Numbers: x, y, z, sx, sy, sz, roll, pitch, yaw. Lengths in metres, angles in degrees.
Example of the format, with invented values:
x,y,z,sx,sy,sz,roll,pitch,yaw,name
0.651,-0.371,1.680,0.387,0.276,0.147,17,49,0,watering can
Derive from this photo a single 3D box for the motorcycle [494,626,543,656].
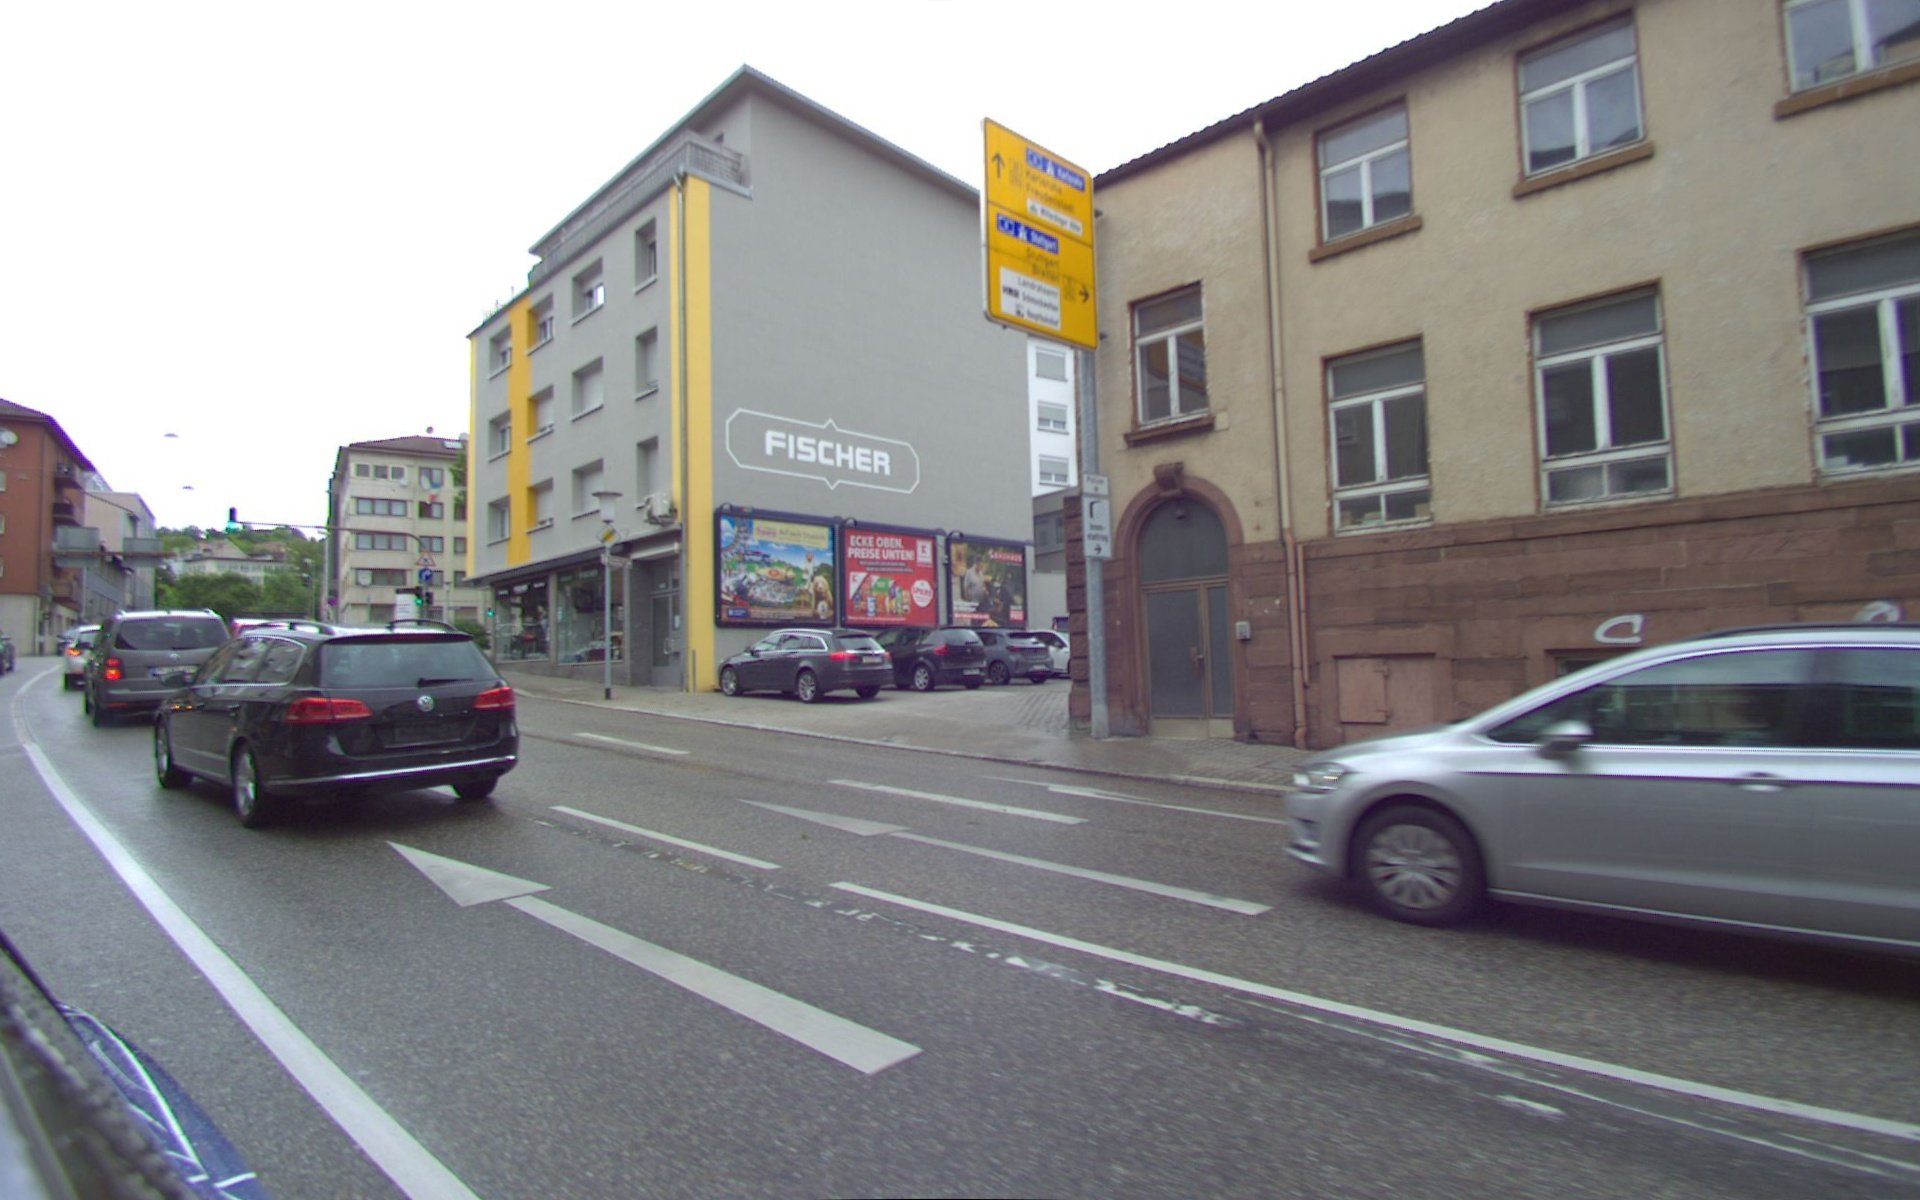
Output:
x,y,z,sx,sy,sz,roll,pitch,yaw,name
-20.103,1.868,46.082,1.962,1.339,0.540,1,-3,-43,motorcycle

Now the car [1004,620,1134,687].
x,y,z,sx,sy,sz,roll,pitch,yaw,name
3.107,1.575,29.350,1.653,1.684,3.553,0,-6,-38,car

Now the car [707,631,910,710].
x,y,z,sx,sy,sz,roll,pitch,yaw,name
-3.332,1.425,21.619,4.662,1.466,1.673,-2,-1,41,car

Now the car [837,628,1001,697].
x,y,z,sx,sy,sz,roll,pitch,yaw,name
-1.031,1.408,23.828,3.856,1.475,1.672,-2,-2,45,car

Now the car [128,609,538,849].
x,y,z,sx,sy,sz,roll,pitch,yaw,name
-5.453,0.851,8.555,4.367,1.527,1.705,-1,-1,41,car

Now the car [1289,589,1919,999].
x,y,z,sx,sy,sz,roll,pitch,yaw,name
3.941,0.812,4.910,4.137,1.598,1.698,0,-4,37,car

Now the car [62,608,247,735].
x,y,z,sx,sy,sz,roll,pitch,yaw,name
-12.812,1.001,15.978,1.786,1.718,4.564,1,-1,-45,car

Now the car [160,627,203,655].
x,y,z,sx,sy,sz,roll,pitch,yaw,name
-42.673,2.205,55.438,1.783,1.425,4.387,2,-2,-38,car

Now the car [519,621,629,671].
x,y,z,sx,sy,sz,roll,pitch,yaw,name
-16.486,1.932,43.378,1.859,1.807,3.948,-3,0,39,car

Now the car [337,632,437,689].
x,y,z,sx,sy,sz,roll,pitch,yaw,name
-16.438,1.757,28.968,1.641,1.398,3.804,1,-6,-43,car

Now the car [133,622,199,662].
x,y,z,sx,sy,sz,roll,pitch,yaw,name
-32.669,1.710,41.753,1.782,1.533,4.573,2,-2,-34,car

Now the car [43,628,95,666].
x,y,z,sx,sy,sz,roll,pitch,yaw,name
-47.695,2.547,54.252,1.766,1.741,4.008,0,-5,-37,car

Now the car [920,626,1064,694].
x,y,z,sx,sy,sz,roll,pitch,yaw,name
0.778,1.588,26.511,1.712,1.527,3.570,1,-6,-43,car

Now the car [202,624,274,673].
x,y,z,sx,sy,sz,roll,pitch,yaw,name
-26.722,1.765,37.403,1.784,1.644,4.350,5,-4,-39,car

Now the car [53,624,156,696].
x,y,z,sx,sy,sz,roll,pitch,yaw,name
-20.235,1.337,23.876,1.678,1.491,4.295,-1,0,-42,car

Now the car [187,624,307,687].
x,y,z,sx,sy,sz,roll,pitch,yaw,name
-19.023,1.445,26.933,4.131,1.527,1.721,-1,-4,43,car

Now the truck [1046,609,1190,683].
x,y,z,sx,sy,sz,roll,pitch,yaw,name
4.833,1.454,31.443,1.694,1.987,4.230,0,-6,-41,truck

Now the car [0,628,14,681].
x,y,z,sx,sy,sz,roll,pitch,yaw,name
-28.132,1.582,28.572,1.846,1.453,4.006,0,-3,-40,car

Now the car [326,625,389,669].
x,y,z,sx,sy,sz,roll,pitch,yaw,name
-23.897,1.855,40.238,1.632,1.622,3.941,3,-3,-24,car
